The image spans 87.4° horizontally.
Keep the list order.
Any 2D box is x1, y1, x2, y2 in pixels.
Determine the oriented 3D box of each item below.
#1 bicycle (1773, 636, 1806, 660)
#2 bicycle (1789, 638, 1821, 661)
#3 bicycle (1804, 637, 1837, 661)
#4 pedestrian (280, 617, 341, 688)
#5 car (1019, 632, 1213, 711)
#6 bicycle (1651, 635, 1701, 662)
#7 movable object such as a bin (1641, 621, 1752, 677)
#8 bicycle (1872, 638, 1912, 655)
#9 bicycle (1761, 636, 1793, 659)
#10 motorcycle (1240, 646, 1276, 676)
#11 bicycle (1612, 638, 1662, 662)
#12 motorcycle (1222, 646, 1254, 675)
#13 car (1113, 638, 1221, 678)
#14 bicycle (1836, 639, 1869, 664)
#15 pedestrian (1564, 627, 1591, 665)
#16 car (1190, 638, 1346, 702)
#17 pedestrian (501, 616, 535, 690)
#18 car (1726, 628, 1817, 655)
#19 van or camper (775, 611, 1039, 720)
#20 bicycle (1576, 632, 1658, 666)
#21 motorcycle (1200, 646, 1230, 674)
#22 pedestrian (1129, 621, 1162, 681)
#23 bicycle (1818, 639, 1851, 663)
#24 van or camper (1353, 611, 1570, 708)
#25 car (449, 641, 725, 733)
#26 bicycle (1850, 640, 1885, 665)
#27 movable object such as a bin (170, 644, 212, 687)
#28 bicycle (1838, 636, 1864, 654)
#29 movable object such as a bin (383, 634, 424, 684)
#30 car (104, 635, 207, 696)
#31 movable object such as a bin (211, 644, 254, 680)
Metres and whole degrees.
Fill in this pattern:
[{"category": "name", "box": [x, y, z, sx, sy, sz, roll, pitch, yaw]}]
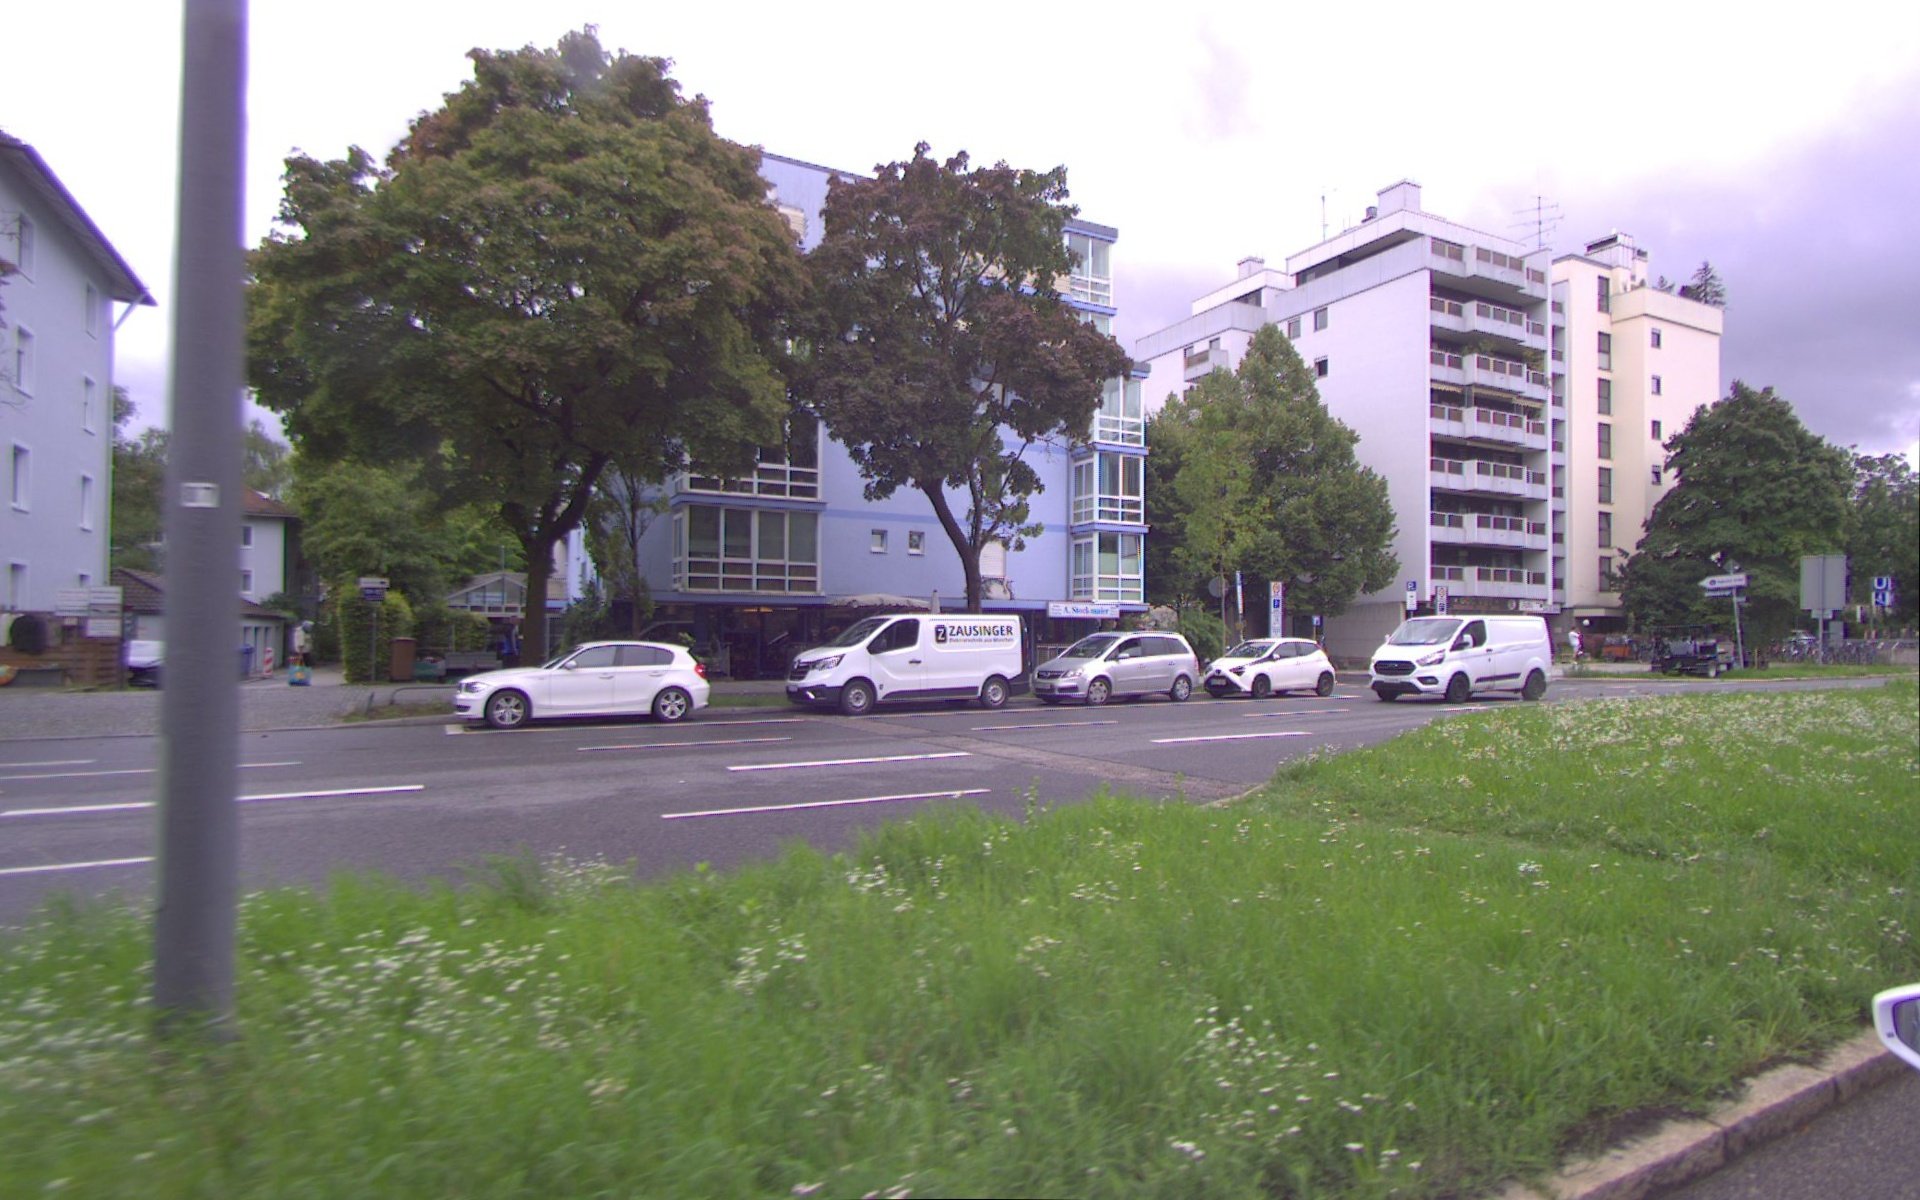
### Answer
[{"category": "bicycle", "box": [39.826, 2.307, 48.222, 1.929, 1.118, 0.406, 1, 3, -27]}, {"category": "bicycle", "box": [40.203, 2.365, 47.773, 1.929, 1.044, 0.406, 1, 3, -27]}, {"category": "bicycle", "box": [40.490, 2.301, 47.261, 1.929, 1.087, 0.406, 1, 3, -27]}, {"category": "pedestrian", "box": [-15.265, 1.232, 23.605, 0.755, 1.623, 0.973, -1, -2, 36]}, {"category": "car", "box": [3.641, 1.559, 22.965, 4.622, 1.637, 1.686, 2, -3, -37]}, {"category": "bicycle", "box": [34.851, 2.353, 48.926, 0.482, 1.118, 1.941, 1, 3, -25]}, {"category": "movable object such as a bin", "box": [27.420, 1.789, 37.397, 3.960, 1.978, 2.179, 1, -2, -35]}, {"category": "bicycle", "box": [56.906, 2.836, 61.358, 0.431, 1.020, 1.755, 1, -2, -28]}, {"category": "bicycle", "box": [39.578, 2.294, 48.675, 1.929, 1.112, 0.406, 1, 3, -27]}, {"category": "motorcycle", "box": [11.859, 2.420, 39.898, 0.491, 1.147, 2.468, -1, -3, 39]}, {"category": "bicycle", "box": [32.124, 2.345, 47.666, 0.552, 1.118, 1.942, 1, -2, -25]}, {"category": "motorcycle", "box": [11.358, 2.454, 40.994, 0.490, 1.147, 2.471, -1, -3, 33]}, {"category": "car", "box": [9.377, 2.615, 45.989, 1.976, 1.704, 5.078, 1, -2, -30]}, {"category": "bicycle", "box": [41.053, 2.369, 46.184, 1.929, 1.092, 0.406, 1, 3, -27]}, {"category": "pedestrian", "box": [29.098, 2.164, 47.337, 1.120, 1.731, 0.664, 1, -2, -35]}, {"category": "car", "box": [7.793, 1.721, 25.369, 3.858, 1.509, 1.639, 1, -2, -31]}, {"category": "pedestrian", "box": [-10.076, 1.202, 22.876, 0.626, 1.667, 0.535, 1, -2, -32]}, {"category": "car", "box": [49.409, 2.517, 61.254, 1.726, 1.610, 3.973, 1, -2, -27]}, {"category": "van or camper", "box": [-1.015, 1.285, 20.469, 5.148, 1.993, 1.797, 1, -2, -30]}, {"category": "bicycle", "box": [31.238, 2.291, 47.841, 0.777, 1.300, 3.316, 1, 2, -25]}, {"category": "motorcycle", "box": [10.795, 2.508, 42.428, 0.490, 1.147, 2.472, -1, -3, 32]}, {"category": "pedestrian", "box": [5.738, 1.572, 31.141, 0.771, 1.829, 0.639, 1, -2, -31]}, {"category": "bicycle", "box": [40.700, 2.377, 46.752, 1.929, 1.054, 0.406, 1, 3, -27]}, {"category": "van or camper", "box": [11.737, 1.340, 23.445, 5.136, 2.042, 2.007, 1, -2, -29]}, {"category": "car", "box": [-6.422, 1.432, 17.435, 4.285, 1.413, 1.667, 1, -2, -31]}, {"category": "bicycle", "box": [41.338, 2.383, 45.743, 2.057, 1.104, 0.406, 1, 3, -27]}, {"category": "movable object such as a bin", "box": [-26.670, 2.272, 34.854, 1.016, 1.387, 1.376, 2, 0, -34]}, {"category": "bicycle", "box": [55.513, 2.780, 62.565, 2.007, 1.113, 0.576, 1, -2, -29]}, {"category": "movable object such as a bin", "box": [-13.415, 1.400, 24.198, 0.758, 1.135, 0.970, 2, 0, -34]}, {"category": "car", "box": [-20.631, 1.630, 25.894, 1.533, 1.438, 3.967, 1, -2, -31]}, {"category": "movable object such as a bin", "box": [-29.043, 2.451, 40.141, 1.320, 1.338, 1.376, 2, 0, -34]}]
